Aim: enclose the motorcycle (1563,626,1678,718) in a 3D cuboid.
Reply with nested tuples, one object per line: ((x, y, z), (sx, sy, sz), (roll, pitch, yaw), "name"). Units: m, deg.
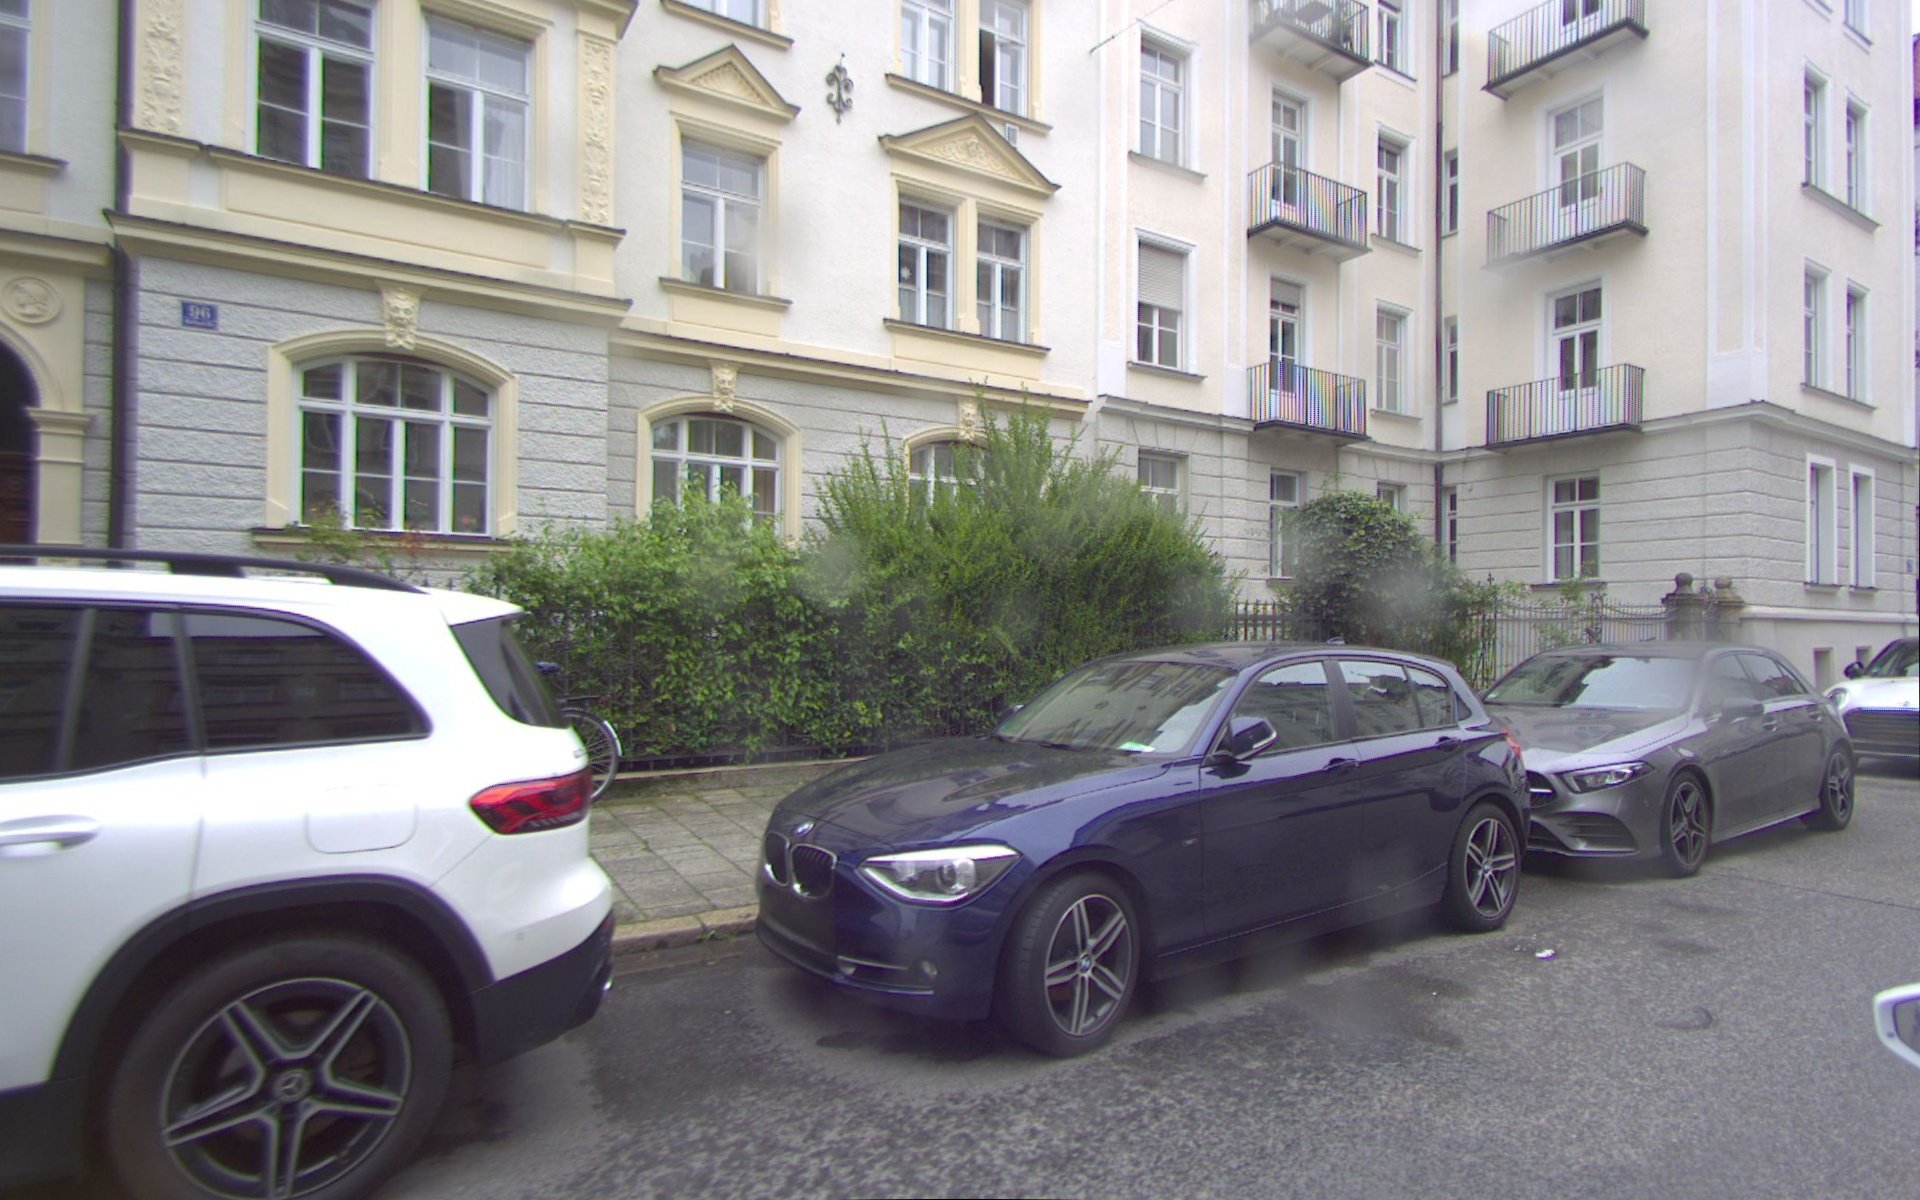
((9.692, 1.044, 14.730), (1.801, 1.266, 0.700), (3, -1, -32), "motorcycle")

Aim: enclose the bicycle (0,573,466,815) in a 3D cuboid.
((-4.430, 0.534, 6.116), (2.501, 1.276, 0.693), (2, -3, -31), "bicycle")

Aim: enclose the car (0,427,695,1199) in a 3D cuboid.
((-3.119, 0.482, 2.507), (4.435, 1.669, 1.797), (2, -3, -32), "car")

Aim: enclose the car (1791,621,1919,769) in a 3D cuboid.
((11.142, 1.011, 11.133), (4.034, 1.453, 1.788), (2, -2, -32), "car")

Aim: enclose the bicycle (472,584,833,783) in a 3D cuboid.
((-2.265, 0.594, 7.593), (2.501, 1.314, 0.752), (2, -3, -31), "bicycle")

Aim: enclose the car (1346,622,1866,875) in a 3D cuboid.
((4.879, 0.907, 7.417), (4.149, 1.382, 1.725), (2, -4, -34), "car")

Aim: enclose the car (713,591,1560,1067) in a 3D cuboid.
((1.014, 0.724, 4.883), (3.958, 1.439, 1.758), (1, -1, -34), "car")
